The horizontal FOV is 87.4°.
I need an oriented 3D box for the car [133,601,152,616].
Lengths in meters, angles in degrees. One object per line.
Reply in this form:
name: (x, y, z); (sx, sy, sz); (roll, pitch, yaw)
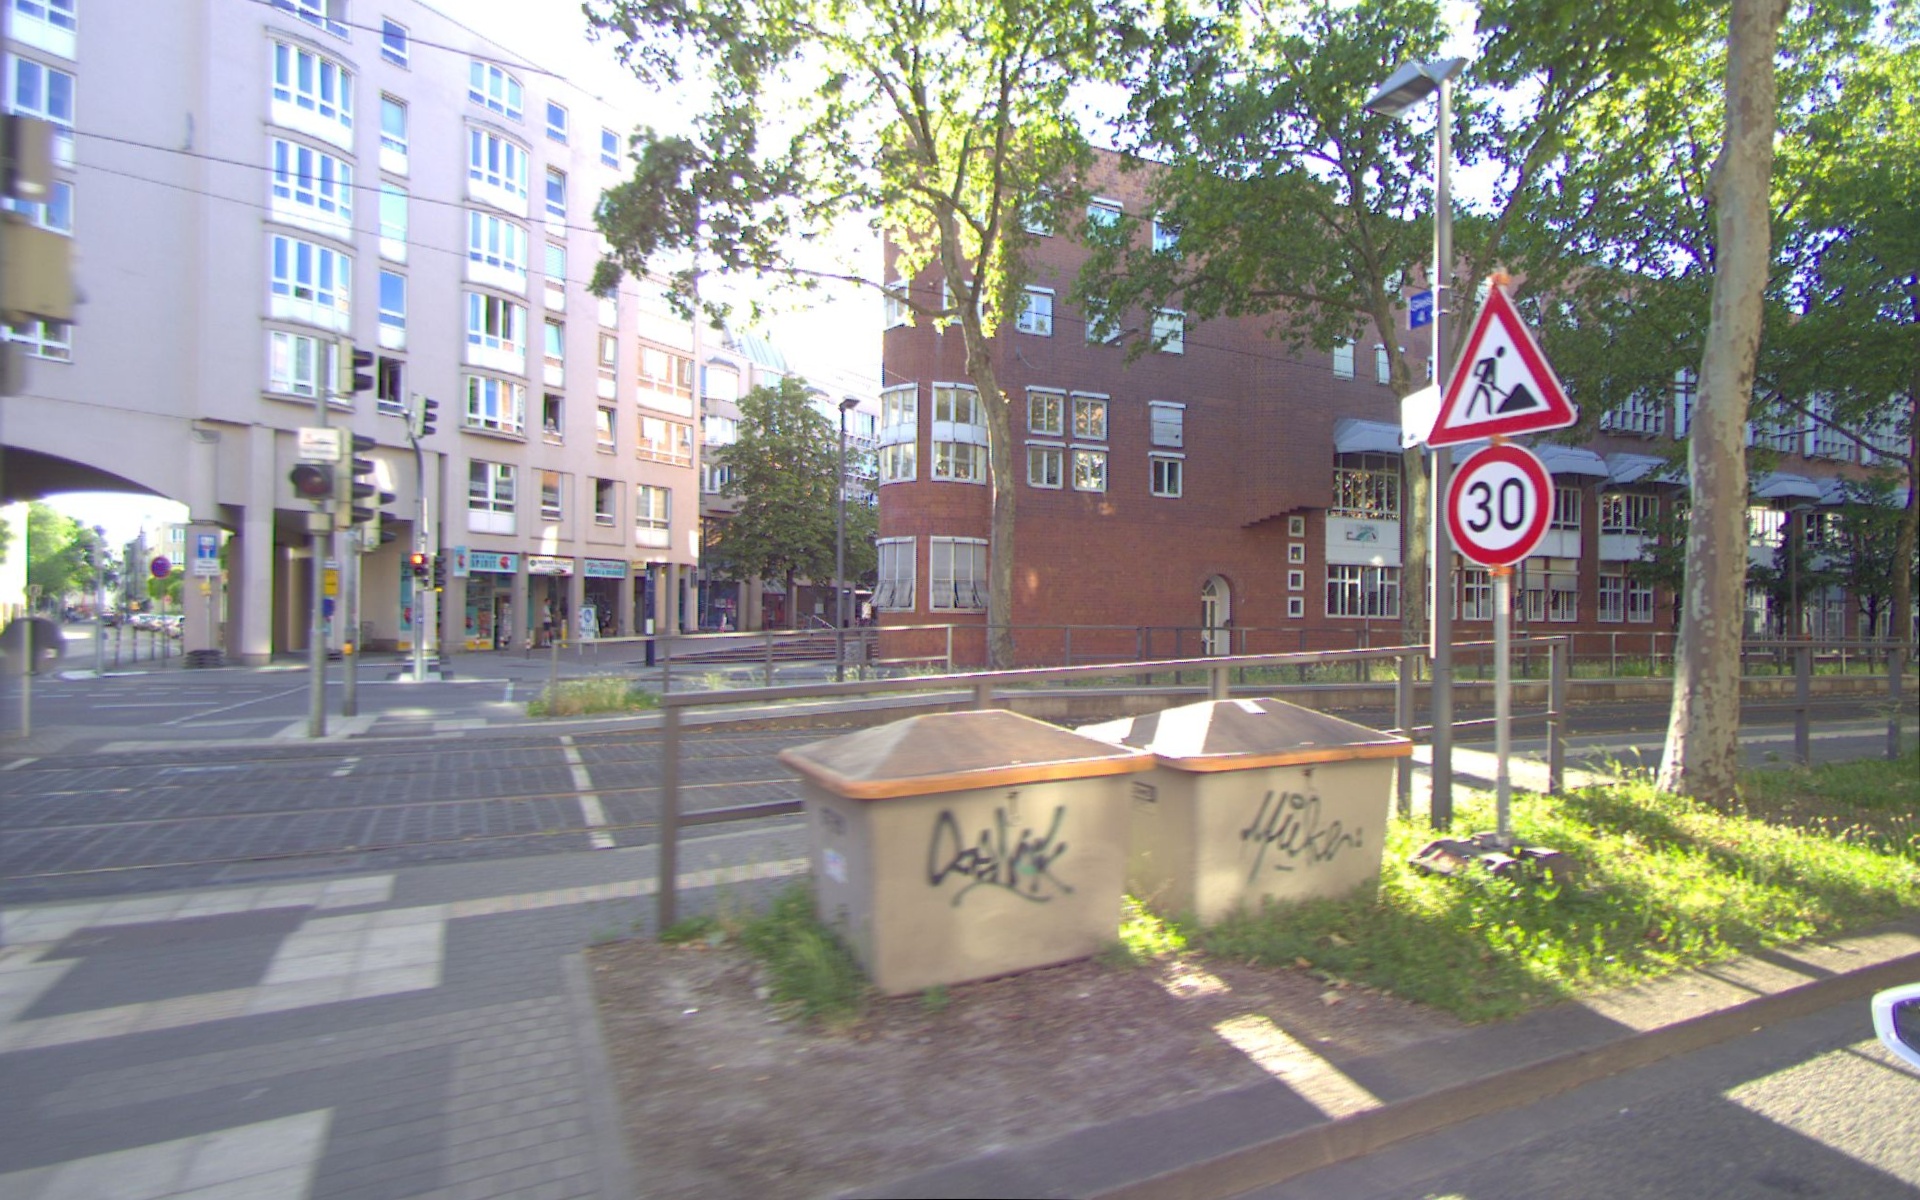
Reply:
car: (-105.684, 1.139, 129.876); (1.802, 1.864, 3.955); (1, -1, -39)

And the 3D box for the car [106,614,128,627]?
car: (-90.880, 2.200, 108.285); (1.671, 1.413, 3.615); (1, -1, -38)

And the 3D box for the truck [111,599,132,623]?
truck: (-120.473, 1.631, 144.380); (2.170, 3.378, 6.536); (1, -1, -39)

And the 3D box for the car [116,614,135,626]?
car: (-101.842, 2.472, 122.605); (1.671, 1.413, 3.615); (1, -1, -38)

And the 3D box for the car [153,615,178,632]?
car: (-68.869, 2.016, 87.109); (1.671, 1.413, 3.615); (1, -1, -38)

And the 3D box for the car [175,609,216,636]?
car: (-50.336, 1.468, 66.182); (1.880, 1.752, 3.620); (1, -1, -34)

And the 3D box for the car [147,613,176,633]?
car: (-61.001, 1.739, 76.739); (1.671, 1.413, 3.615); (1, -1, -38)

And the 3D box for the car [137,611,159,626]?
car: (-81.541, 1.856, 100.905); (1.671, 1.413, 3.615); (1, -1, -38)

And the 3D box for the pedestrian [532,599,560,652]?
pedestrian: (-15.521, 0.939, 37.696); (0.809, 1.968, 0.758); (1, 0, -10)
